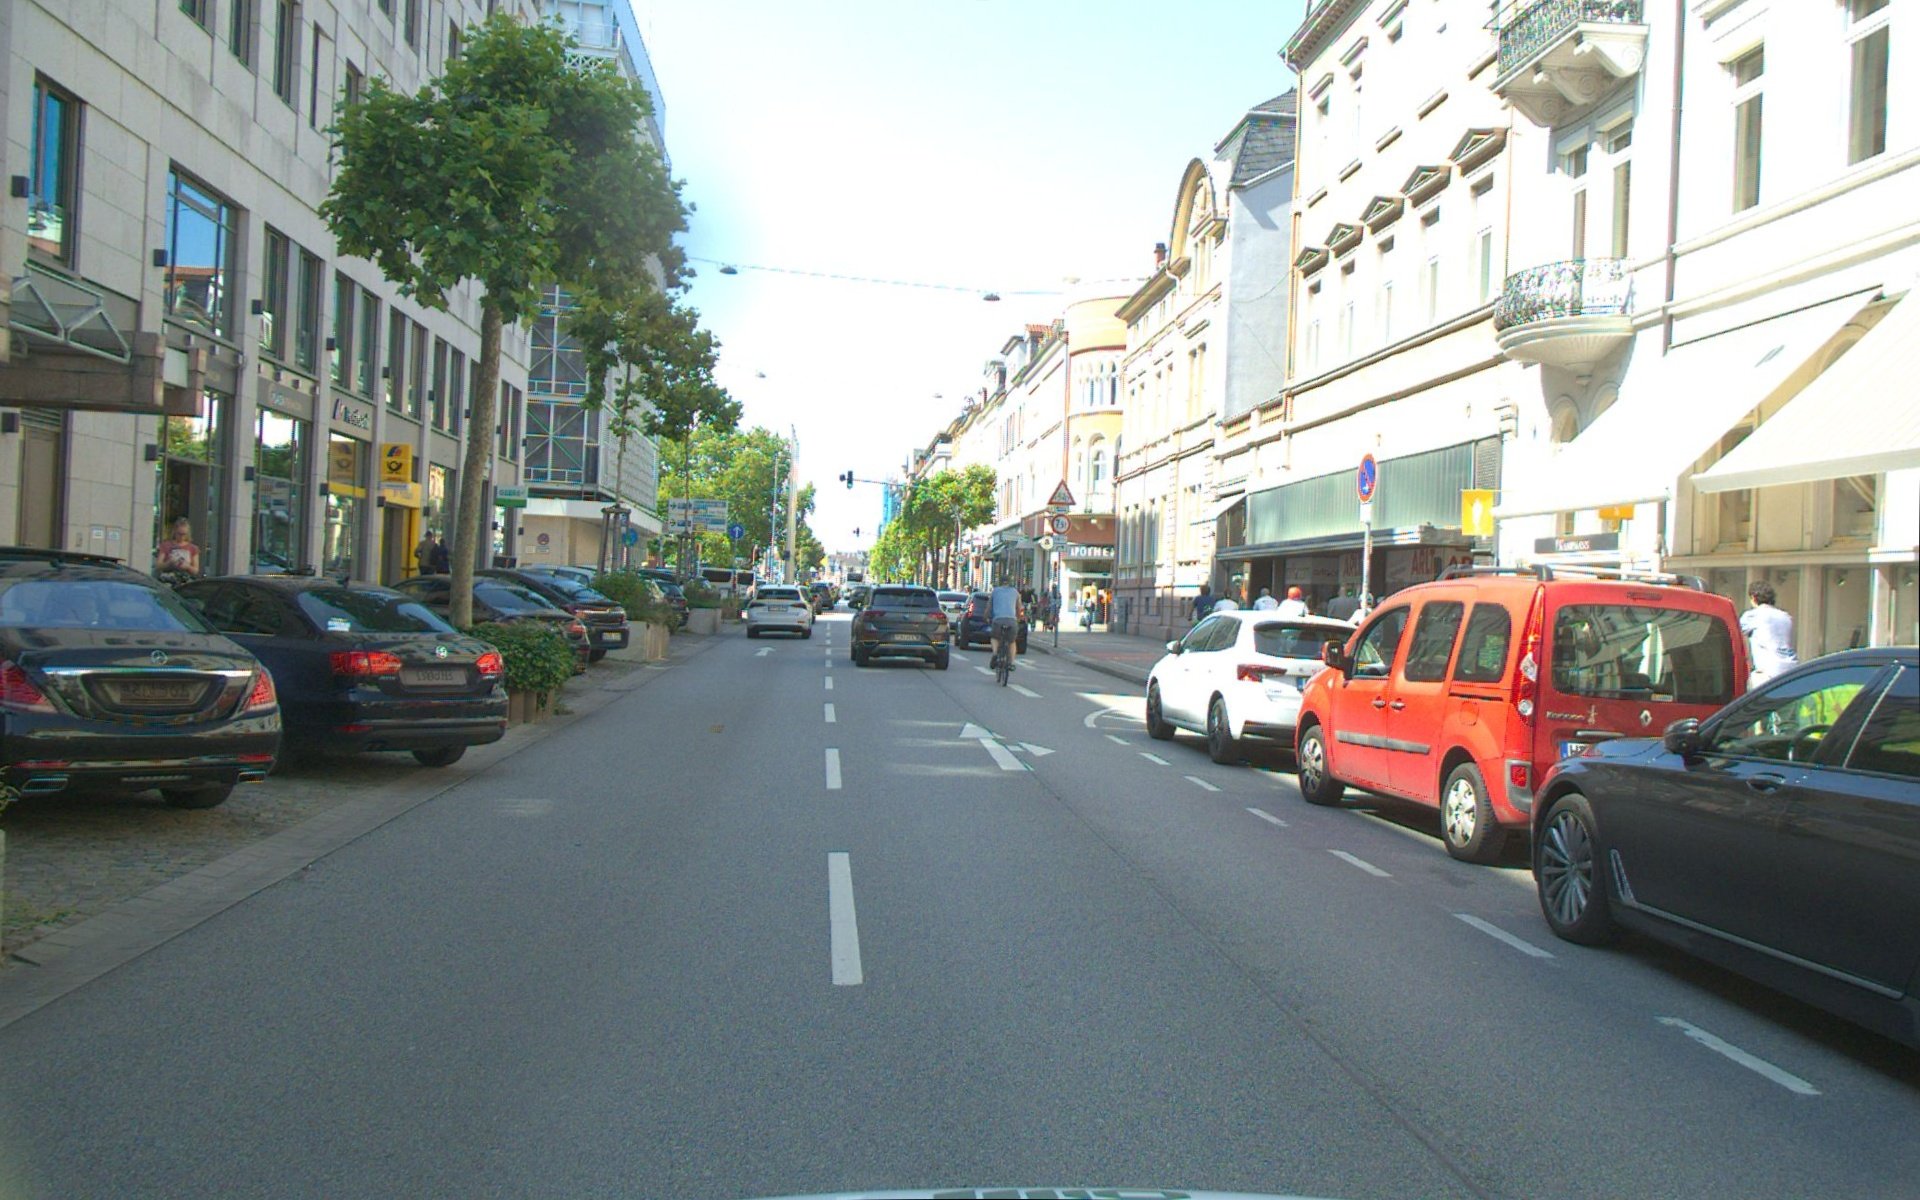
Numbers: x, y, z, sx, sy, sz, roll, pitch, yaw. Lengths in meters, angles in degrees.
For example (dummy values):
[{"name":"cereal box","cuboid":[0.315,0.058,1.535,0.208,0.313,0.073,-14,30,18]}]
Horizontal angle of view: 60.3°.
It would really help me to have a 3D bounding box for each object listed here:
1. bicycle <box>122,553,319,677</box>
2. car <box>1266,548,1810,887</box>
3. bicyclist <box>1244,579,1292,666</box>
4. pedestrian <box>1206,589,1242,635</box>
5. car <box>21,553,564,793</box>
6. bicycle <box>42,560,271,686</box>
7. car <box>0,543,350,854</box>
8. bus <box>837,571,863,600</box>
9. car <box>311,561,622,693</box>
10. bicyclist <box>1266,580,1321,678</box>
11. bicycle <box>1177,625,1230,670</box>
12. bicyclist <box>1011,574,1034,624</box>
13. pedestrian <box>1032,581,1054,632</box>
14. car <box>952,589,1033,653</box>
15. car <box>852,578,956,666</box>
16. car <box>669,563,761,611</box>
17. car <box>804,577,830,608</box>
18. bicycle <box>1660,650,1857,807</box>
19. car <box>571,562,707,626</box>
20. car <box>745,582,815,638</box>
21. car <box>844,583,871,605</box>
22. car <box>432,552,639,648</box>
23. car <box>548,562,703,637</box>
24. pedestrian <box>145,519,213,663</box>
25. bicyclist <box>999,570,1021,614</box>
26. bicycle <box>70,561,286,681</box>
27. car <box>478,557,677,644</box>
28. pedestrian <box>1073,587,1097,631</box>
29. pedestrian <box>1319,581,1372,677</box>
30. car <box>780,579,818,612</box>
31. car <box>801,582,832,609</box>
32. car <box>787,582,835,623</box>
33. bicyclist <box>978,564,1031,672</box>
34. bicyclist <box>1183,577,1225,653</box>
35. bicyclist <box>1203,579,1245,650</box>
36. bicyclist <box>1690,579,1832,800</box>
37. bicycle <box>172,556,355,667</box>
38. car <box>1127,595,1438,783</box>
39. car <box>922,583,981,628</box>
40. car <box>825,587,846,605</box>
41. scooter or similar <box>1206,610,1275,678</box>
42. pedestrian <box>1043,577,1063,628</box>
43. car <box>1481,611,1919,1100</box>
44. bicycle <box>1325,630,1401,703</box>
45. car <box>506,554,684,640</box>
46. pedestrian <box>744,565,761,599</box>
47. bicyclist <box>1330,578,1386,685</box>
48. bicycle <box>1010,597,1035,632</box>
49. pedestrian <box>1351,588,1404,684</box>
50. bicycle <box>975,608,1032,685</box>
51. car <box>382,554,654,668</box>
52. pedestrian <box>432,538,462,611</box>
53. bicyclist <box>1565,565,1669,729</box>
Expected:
[{"name":"bicycle","cuboid":[-8.834,0.182,19.810,2.029,1.311,0.366,5,-1,-12]},{"name":"car","cuboid":[3.821,0.668,11.879,1.793,1.895,4.346,4,0,-8]},{"name":"bicyclist","cuboid":[5.849,0.421,31.457,0.645,1.623,0.920,2,0,-3]},{"name":"pedestrian","cuboid":[7.331,0.332,45.967,0.917,1.291,0.567,0,0,1]},{"name":"car","cuboid":[-5.596,0.492,13.618,4.702,1.447,1.876,4,1,36]},{"name":"bicycle","cuboid":[-8.536,0.241,17.623,2.025,1.150,0.617,5,-1,-4]},{"name":"car","cuboid":[-6.151,0.428,10.627,4.666,1.560,1.981,4,0,38]},{"name":"bus","cuboid":[-14.519,-1.907,218.612,2.718,3.668,8.958,2,0,-8]},{"name":"car","cuboid":[-6.985,0.336,23.181,4.565,1.432,1.897,5,1,39]},{"name":"bicyclist","cuboid":[5.236,0.448,26.004,0.612,1.502,0.889,2,0,-3]},{"name":"bicycle","cuboid":[5.315,1.030,36.235,0.725,0.895,2.136,2,0,-3]},{"name":"bicyclist","cuboid":[2.206,-0.019,58.576,0.681,1.703,0.834,2,-3,-4]},{"name":"pedestrian","cuboid":[3.197,0.235,63.950,0.694,1.932,1.152,2,0,-1]},{"name":"car","cuboid":[0.822,0.516,43.532,1.786,1.433,3.184,5,1,-4]},{"name":"car","cuboid":[-1.142,0.393,32.099,1.797,1.554,3.996,2,0,-5]},{"name":"car","cuboid":[-13.077,-0.703,88.154,4.632,2.038,1.934,6,-1,36]},{"name":"car","cuboid":[-10.466,-0.525,120.915,1.827,2.065,3.995,3,-1,-5]},{"name":"bicycle","cuboid":[6.746,1.046,14.105,0.544,1.140,2.071,0,1,-4]},{"name":"car","cuboid":[-9.940,-0.179,51.449,3.913,1.526,1.715,7,0,-7]},{"name":"car","cuboid":[-5.038,0.250,46.494,1.827,1.466,3.995,2,0,-6]},{"name":"car","cuboid":[-7.472,-0.441,120.440,1.827,1.466,3.996,2,0,-5]},{"name":"car","cuboid":[-8.853,-0.005,34.782,3.915,1.526,1.714,7,0,-9]},{"name":"car","cuboid":[-9.001,-0.012,44.460,3.919,1.484,1.665,7,0,32]},{"name":"pedestrian","cuboid":[-9.401,-0.106,19.928,0.556,1.686,0.635,2,0,-12]},{"name":"bicyclist","cuboid":[2.027,-0.311,67.255,0.681,1.702,0.835,5,2,-4]},{"name":"bicycle","cuboid":[-8.662,0.236,18.379,2.029,1.150,0.462,5,-1,-12]},{"name":"car","cuboid":[-8.682,0.016,37.670,3.904,1.515,1.785,6,0,13]},{"name":"pedestrian","cuboid":[5.137,0.366,68.101,0.776,1.750,0.728,1,0,-10]},{"name":"pedestrian","cuboid":[7.232,0.534,31.073,0.859,1.748,0.836,2,0,9]},{"name":"car","cuboid":[-7.623,-0.221,78.526,1.709,1.466,3.996,2,0,-5]},{"name":"car","cuboid":[-8.268,-0.292,95.215,1.709,1.466,3.996,2,0,-5]},{"name":"car","cuboid":[-5.708,0.077,63.454,1.709,1.466,3.996,2,0,-5]},{"name":"bicyclist","cuboid":[0.733,0.288,27.498,0.681,1.702,0.915,4,1,-4]},{"name":"bicyclist","cuboid":[5.341,0.331,36.273,0.695,1.623,0.963,2,0,-3]},{"name":"bicyclist","cuboid":[4.874,0.264,30.581,0.611,1.270,0.607,2,0,-3]},{"name":"bicyclist","cuboid":[6.833,0.735,14.151,0.634,1.800,1.012,2,0,-4]},{"name":"bicycle","cuboid":[-8.912,0.152,21.258,2.035,1.240,0.755,5,-1,-21]},{"name":"car","cuboid":[3.171,0.813,17.297,1.779,1.491,4.574,4,1,-7]},{"name":"car","cuboid":[-0.321,0.166,57.402,1.786,1.409,3.998,2,1,-4]},{"name":"car","cuboid":[-11.641,-0.350,154.240,1.827,1.466,3.995,-3,-1,-6]},{"name":"scooter or similar","cuboid":[4.939,0.764,29.187,0.853,1.141,1.620,1,0,-3]},{"name":"pedestrian","cuboid":[3.464,0.096,61.621,0.639,1.840,0.729,2,0,-1]},{"name":"car","cuboid":[3.918,0.890,6.333,1.823,1.495,5.221,4,0,-4]},{"name":"bicycle","cuboid":[6.225,1.006,25.647,0.552,1.013,2.102,2,0,-3]},{"name":"car","cuboid":[-9.081,-0.071,41.174,3.908,1.594,1.700,7,0,20]},{"name":"pedestrian","cuboid":[-10.246,-0.879,81.612,0.607,1.643,0.544,3,-2,-34]},{"name":"bicyclist","cuboid":[6.210,0.480,25.835,0.571,1.623,0.920,2,0,-3]},{"name":"bicycle","cuboid":[2.218,0.497,58.871,0.544,1.139,2.241,4,1,-4]},{"name":"pedestrian","cuboid":[7.679,0.656,30.443,0.634,1.714,0.944,2,0,-4]},{"name":"bicycle","cuboid":[0.711,0.748,27.586,0.651,1.139,2.241,4,1,-4]},{"name":"car","cuboid":[-7.598,0.177,28.394,4.257,1.539,1.831,5,0,26]},{"name":"pedestrian","cuboid":[-14.713,-0.735,47.414,0.611,2.049,0.700,2,0,-4]},{"name":"bicyclist","cuboid":[7.148,0.495,18.024,0.634,1.714,1.012,2,0,-4]}]
